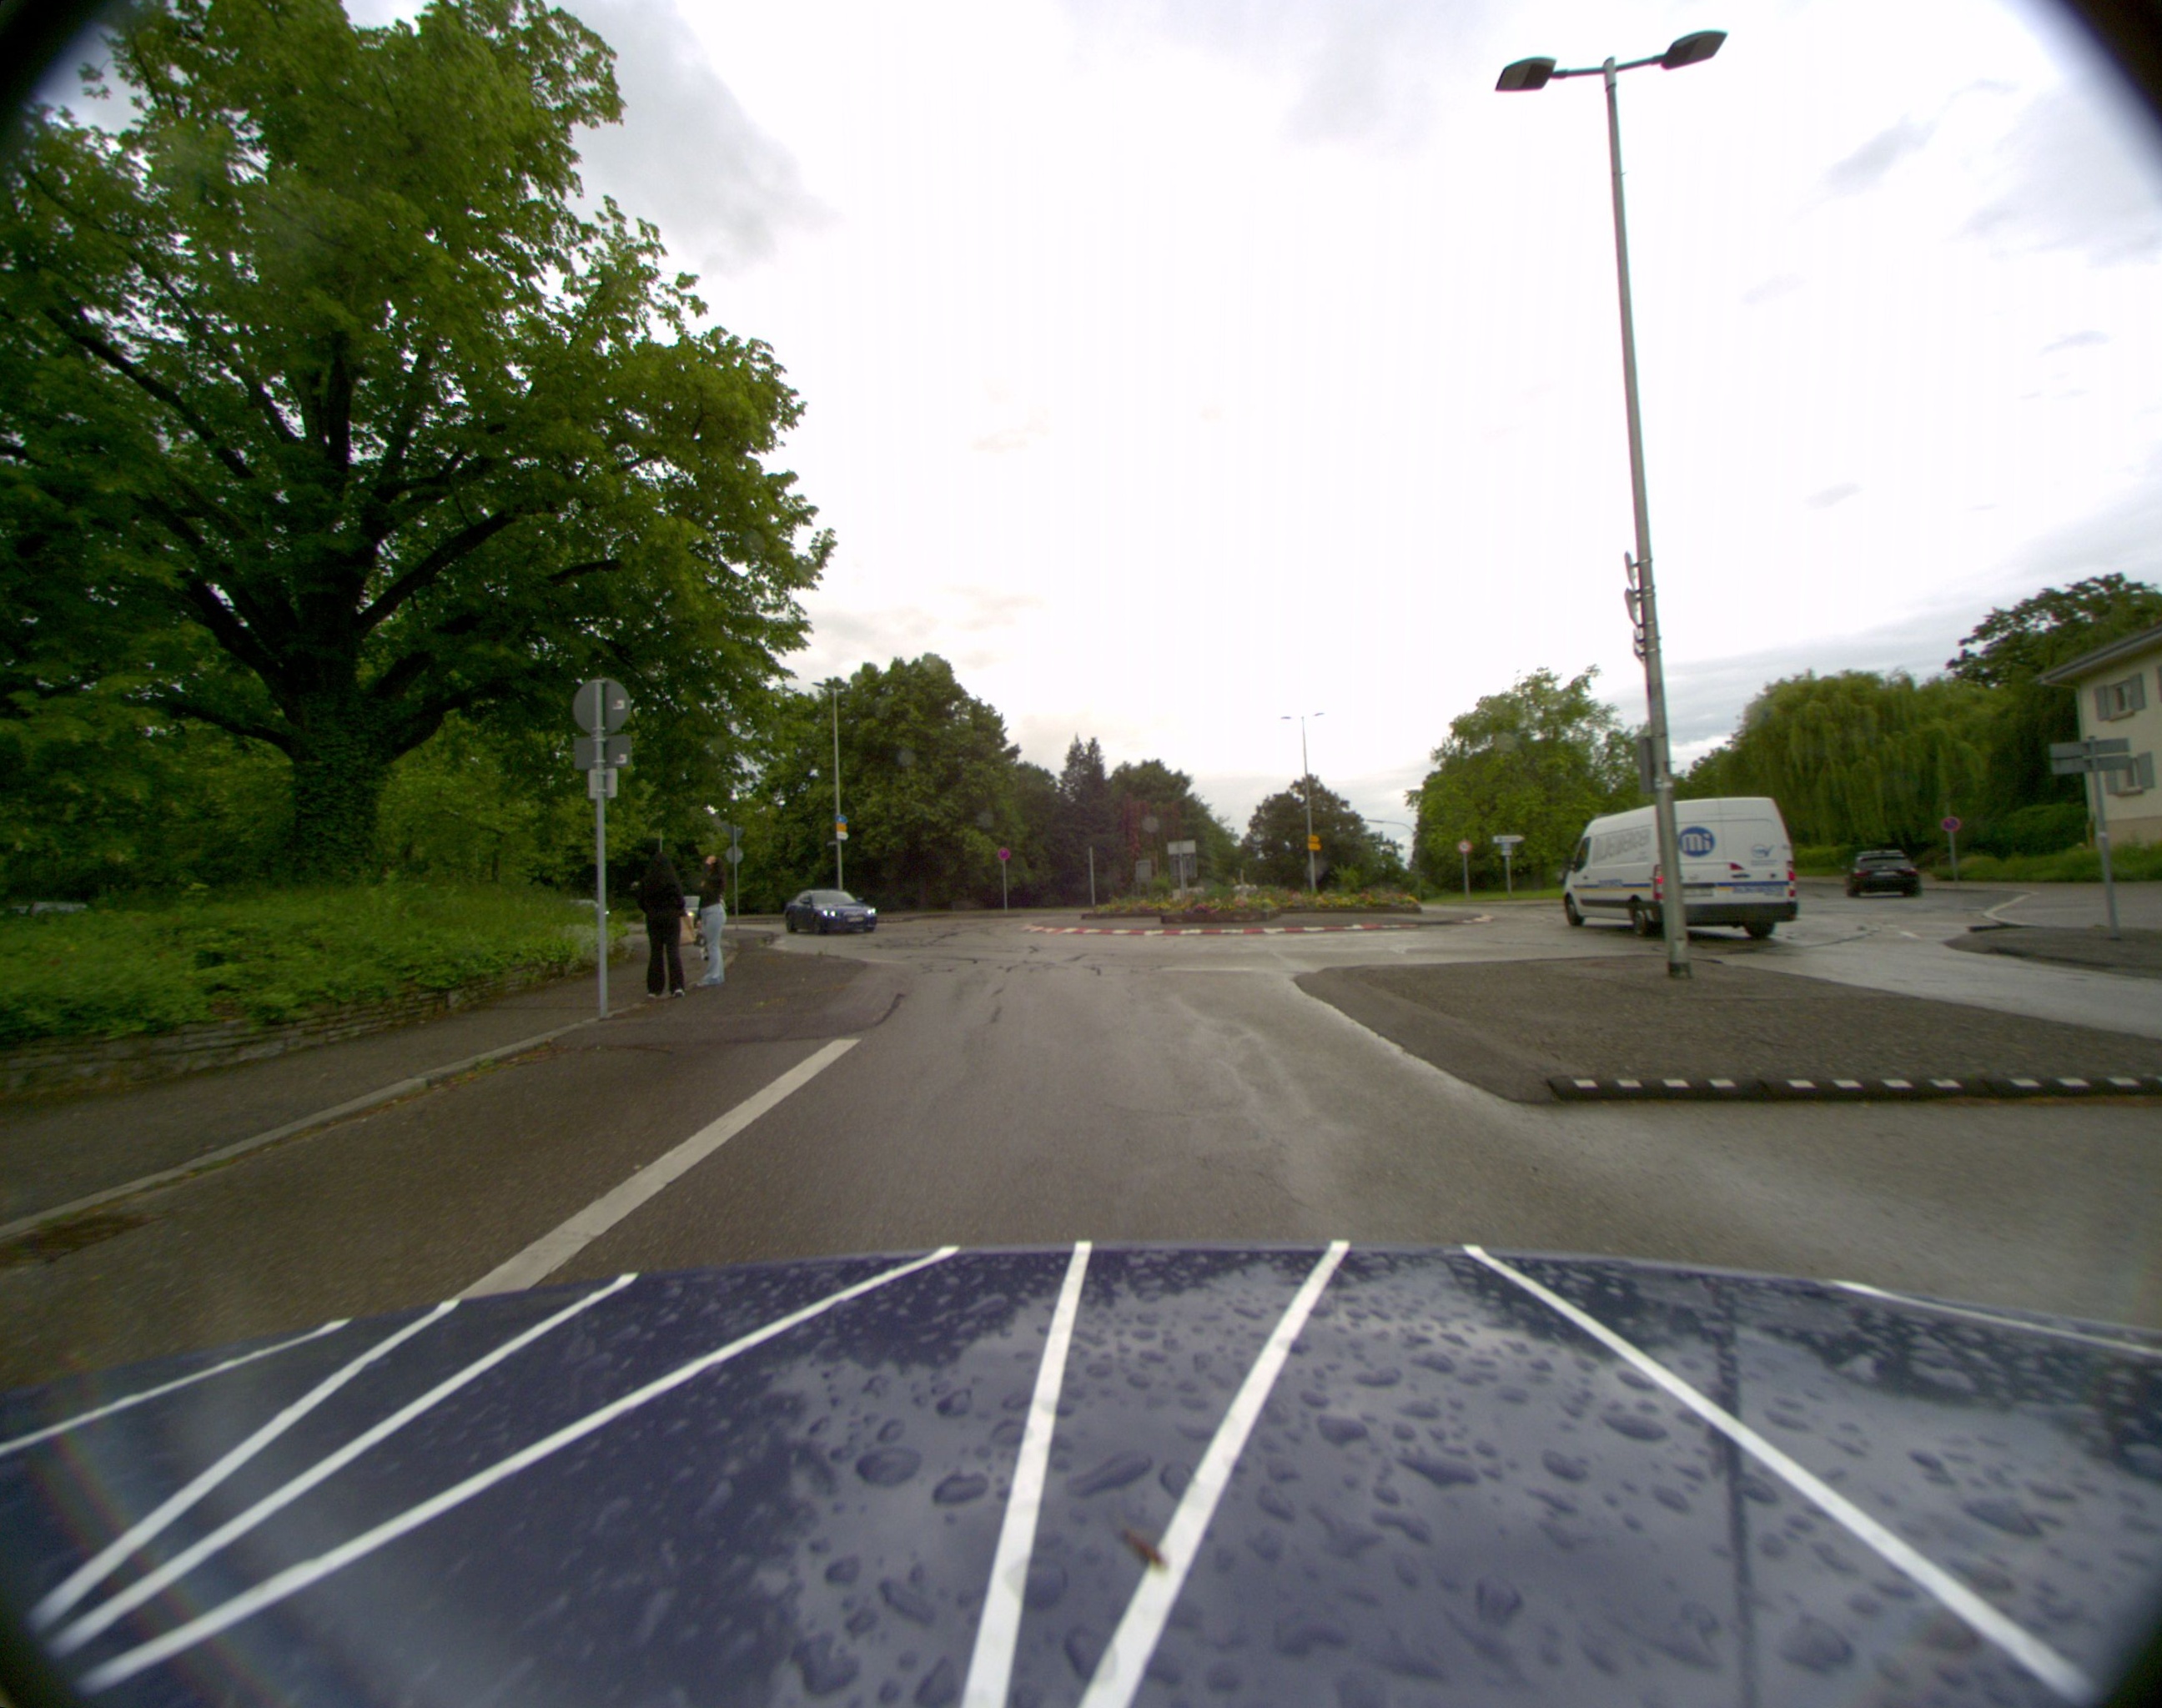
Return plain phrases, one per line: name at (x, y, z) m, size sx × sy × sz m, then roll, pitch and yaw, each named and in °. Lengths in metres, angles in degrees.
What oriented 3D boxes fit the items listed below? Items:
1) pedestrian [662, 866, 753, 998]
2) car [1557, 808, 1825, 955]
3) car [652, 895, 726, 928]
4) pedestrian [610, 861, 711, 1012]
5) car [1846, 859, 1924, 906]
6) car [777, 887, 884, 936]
pedestrian at (-4.940, 0.993, 10.066) m, size 0.723 × 1.645 × 0.821 m, roll -1°, pitch 0°, yaw 38°
car at (11.714, 0.568, 15.239) m, size 2.170 × 2.400 × 5.405 m, roll -1°, pitch -2°, yaw 15°
car at (-19.009, 2.756, 36.805) m, size 4.374 × 1.406 × 1.867 m, roll -3°, pitch -2°, yaw 44°
pedestrian at (-5.031, 0.950, 9.136) m, size 0.725 × 1.722 × 0.819 m, roll -1°, pitch 0°, yaw 0°
car at (30.859, 1.040, 29.266) m, size 1.693 × 1.605 × 4.347 m, roll -1°, pitch 1°, yaw 42°
car at (-8.497, 1.902, 25.536) m, size 1.767 × 1.428 × 4.659 m, roll -1°, pitch -2°, yaw -40°
